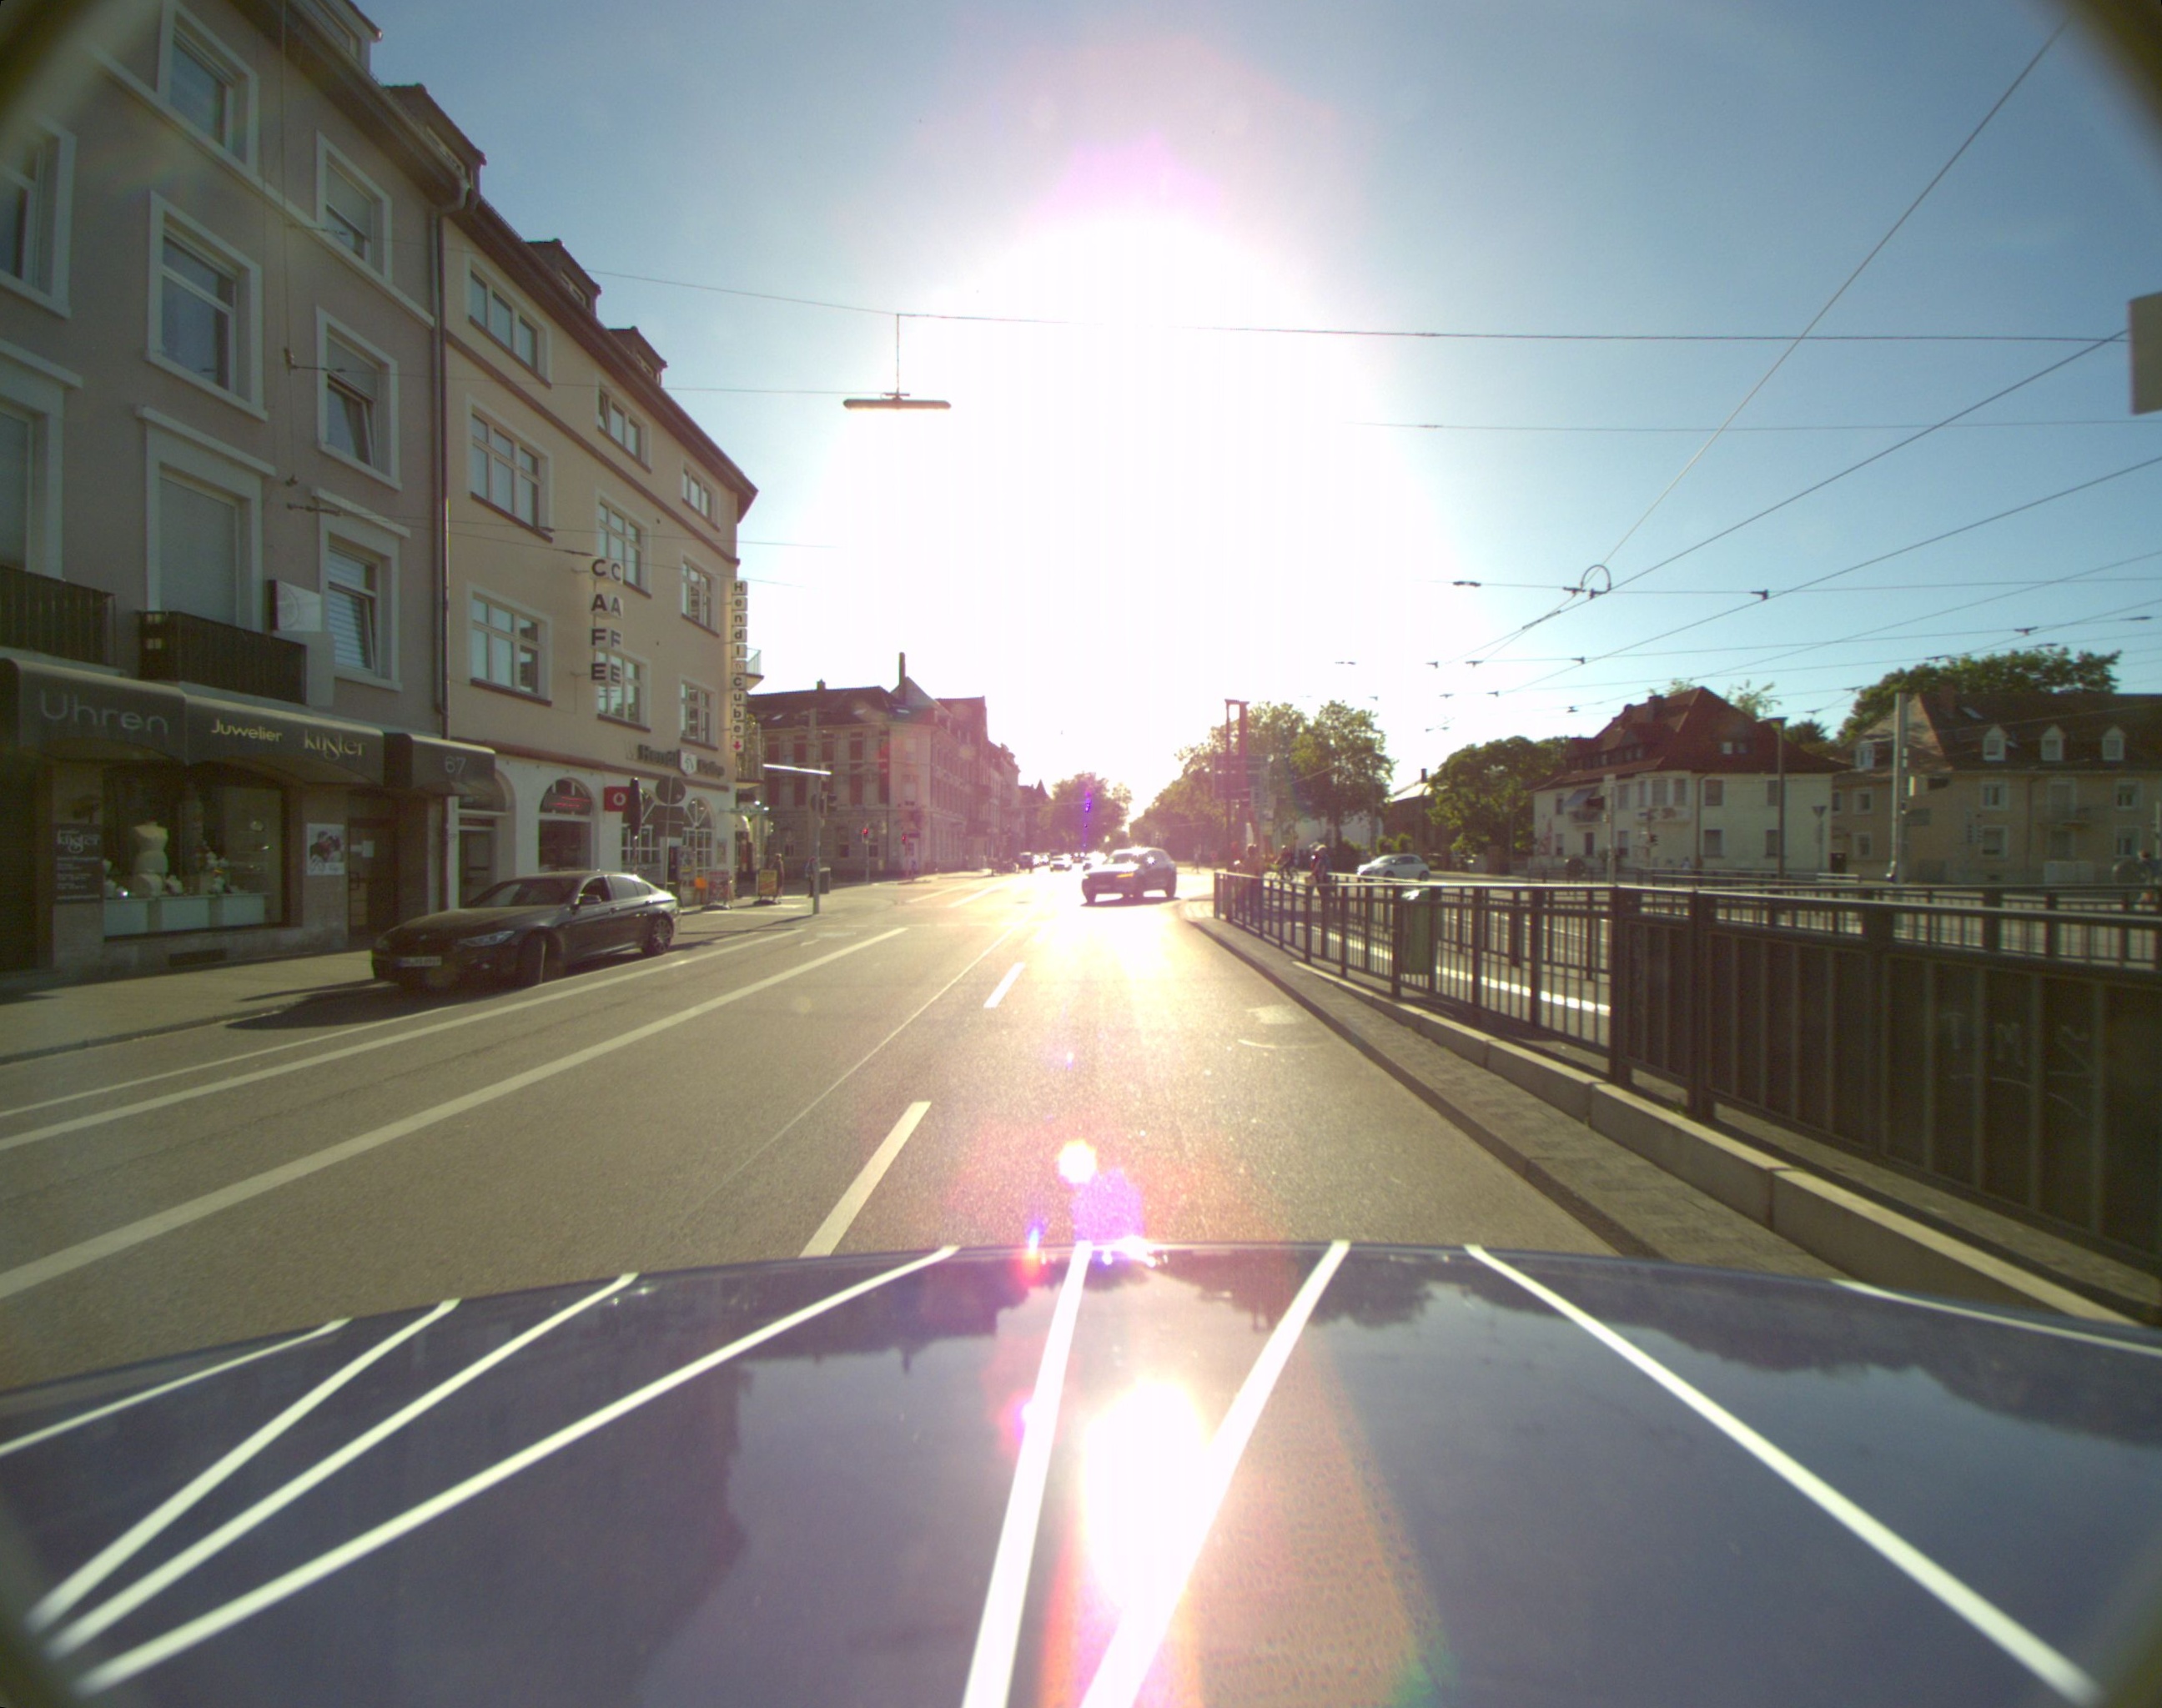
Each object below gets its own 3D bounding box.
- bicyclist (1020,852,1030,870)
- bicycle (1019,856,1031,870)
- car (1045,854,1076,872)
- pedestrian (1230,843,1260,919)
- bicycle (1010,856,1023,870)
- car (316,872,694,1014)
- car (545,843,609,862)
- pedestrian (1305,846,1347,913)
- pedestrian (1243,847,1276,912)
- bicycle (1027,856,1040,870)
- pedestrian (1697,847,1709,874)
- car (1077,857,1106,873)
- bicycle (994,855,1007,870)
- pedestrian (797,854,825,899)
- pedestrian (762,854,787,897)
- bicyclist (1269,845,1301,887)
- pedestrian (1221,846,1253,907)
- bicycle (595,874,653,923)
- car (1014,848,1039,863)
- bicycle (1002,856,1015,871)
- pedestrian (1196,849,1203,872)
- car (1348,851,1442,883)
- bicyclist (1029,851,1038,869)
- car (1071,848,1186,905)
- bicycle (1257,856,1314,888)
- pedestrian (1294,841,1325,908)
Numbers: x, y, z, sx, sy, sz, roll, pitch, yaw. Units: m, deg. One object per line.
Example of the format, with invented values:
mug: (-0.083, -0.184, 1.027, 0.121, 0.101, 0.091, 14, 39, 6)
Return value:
bicyclist: (-5.014, 0.614, 68.069, 0.696, 1.596, 0.745, 0, 1, 6)
bicycle: (-4.999, 0.819, 68.157, 0.693, 1.208, 2.299, 0, 1, 6)
car: (-1.889, 0.814, 71.270, 2.294, 1.566, 4.596, 0, 1, 6)
pedestrian: (3.998, 0.633, 18.566, 0.637, 1.817, 0.776, 0, 1, 4)
bicycle: (-5.580, 0.775, 65.730, 0.693, 1.208, 2.299, 0, 1, 6)
car: (-7.830, 1.087, 11.115, 1.904, 1.421, 4.716, -2, 1, 0)
car: (-40.329, -0.087, 60.771, 4.263, 1.483, 2.002, 0, 1, 17)
pedestrian: (6.336, 0.643, 19.702, 0.803, 1.680, 1.008, 0, 1, 4)
pedestrian: (4.683, 0.662, 19.996, 0.743, 1.680, 0.776, 0, 1, 4)
bicycle: (-4.095, 0.773, 65.708, 0.693, 1.208, 2.299, 0, 1, 6)
pedestrian: (40.252, 0.436, 49.200, 0.417, 1.733, 0.409, 0, 1, 1)
car: (1.037, 0.962, 71.045, 2.294, 1.391, 4.596, 0, 0, 6)
bicycle: (-6.998, 0.745, 66.022, 0.693, 1.208, 2.299, 0, 1, 6)
pedestrian: (-10.438, 0.868, 29.421, 0.775, 1.680, 0.800, -1, -1, 1)
pedestrian: (-11.988, 0.837, 29.715, 0.663, 1.680, 0.677, 0, 1, 1)
bicyclist: (9.168, 0.530, 34.216, 1.005, 1.872, 0.991, -1, 1, -26)
pedestrian: (4.421, 0.623, 21.589, 0.799, 1.680, 0.776, 0, 1, 4)
bicycle: (-11.520, 1.089, 19.210, 0.697, 1.102, 1.863, 0, 1, -13)
car: (-6.254, 0.131, 87.965, 2.294, 1.716, 4.595, 0, 1, 4)
bicycle: (-6.293, 0.808, 65.809, 0.693, 1.208, 2.299, 0, 1, 6)
pedestrian: (9.383, 0.540, 60.227, 0.581, 1.824, 0.559, 0, 1, 11)
car: (16.200, 0.629, 39.260, 4.277, 1.595, 1.996, 0, 1, -21)
bicyclist: (-4.133, 0.533, 66.406, 0.696, 1.596, 0.745, 0, 1, 6)
car: (1.692, 0.677, 25.287, 1.976, 1.660, 4.628, -1, 1, 29)
bicycle: (9.239, 0.790, 34.271, 2.382, 1.349, 1.020, 0, 1, -26)
pedestrian: (6.271, 0.548, 20.910, 0.651, 1.821, 0.808, 0, 1, 4)
